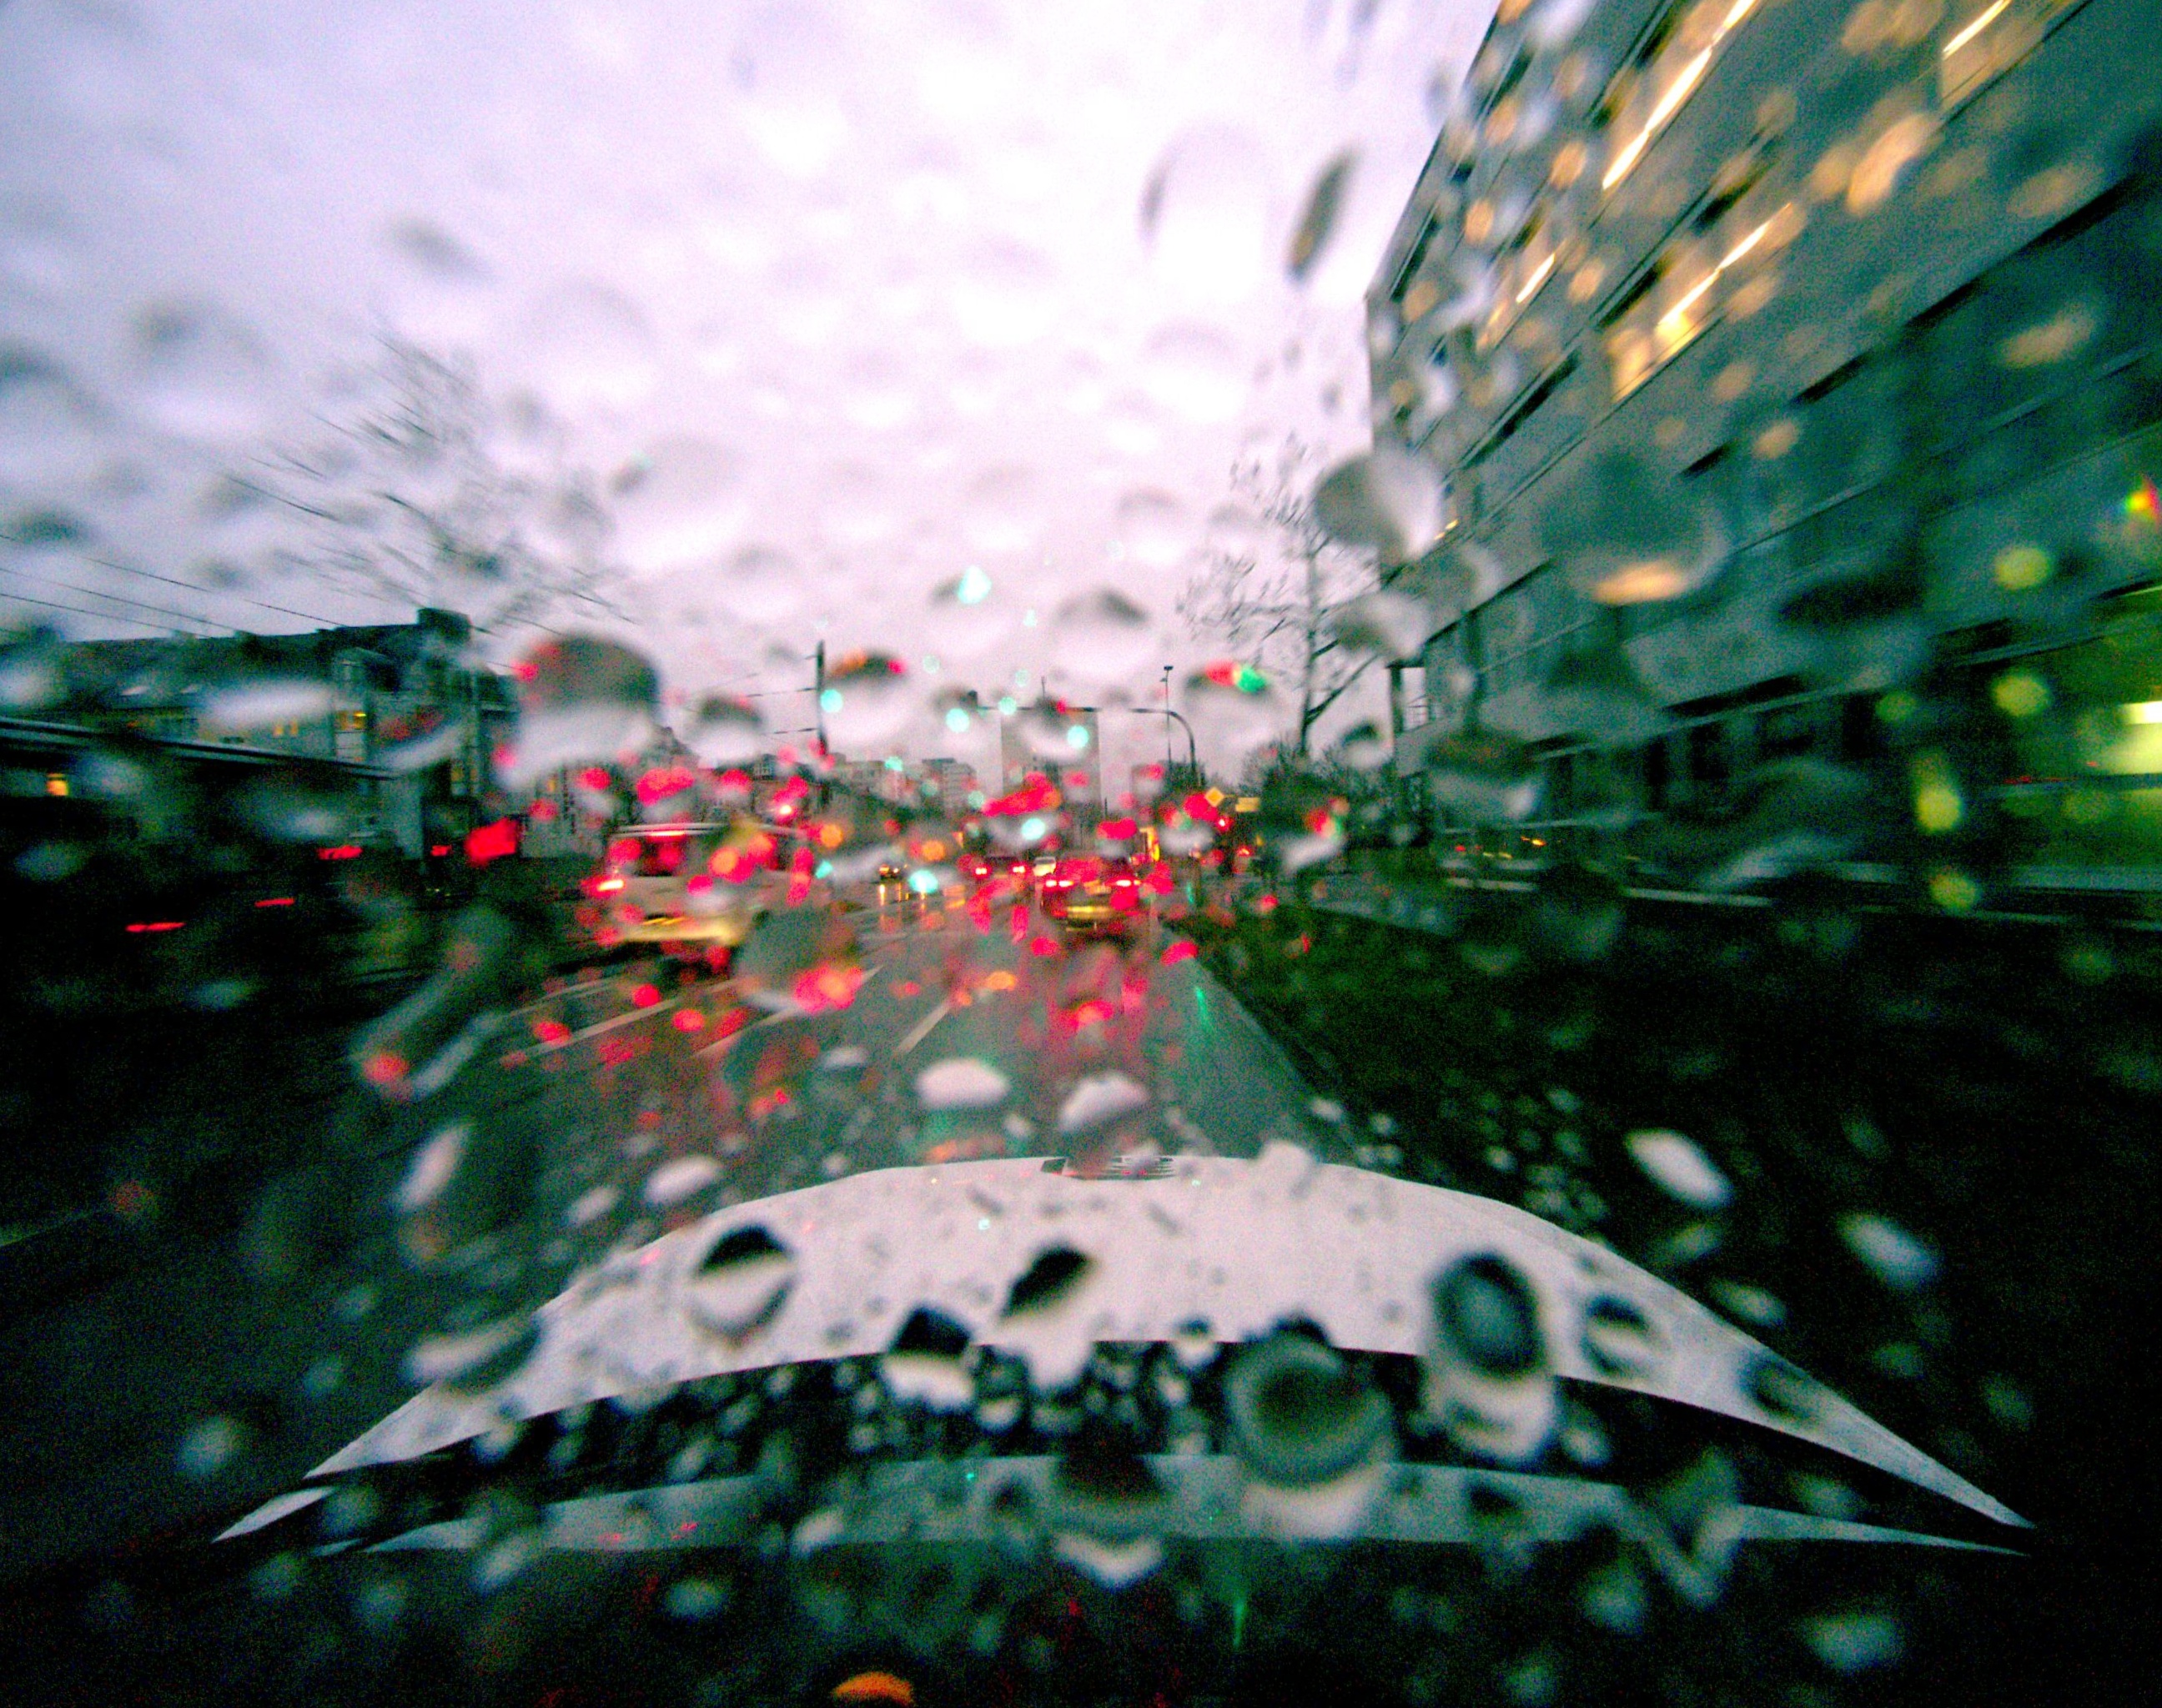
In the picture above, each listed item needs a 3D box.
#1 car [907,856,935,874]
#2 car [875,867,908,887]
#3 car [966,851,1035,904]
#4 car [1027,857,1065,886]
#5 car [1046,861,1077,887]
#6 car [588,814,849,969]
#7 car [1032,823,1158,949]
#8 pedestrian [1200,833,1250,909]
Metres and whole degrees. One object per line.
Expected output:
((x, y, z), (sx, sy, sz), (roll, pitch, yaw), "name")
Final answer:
((-14.790, 1.045, 75.396), (1.582, 1.529, 4.934), (-1, -1, 0), "car")
((-16.008, 1.902, 68.991), (1.799, 1.606, 3.999), (-1, -1, 0), "car")
((-2.794, 0.809, 29.210), (1.987, 1.712, 4.324), (-1, -1, 0), "car")
((-2.096, 1.061, 50.067), (1.986, 1.642, 4.023), (-1, -1, 1), "car")
((-1.518, 1.566, 64.765), (1.985, 2.014, 4.004), (-1, -1, 4), "car")
((-5.590, 0.511, 13.430), (1.945, 2.033, 4.885), (-2, 0, 2), "car")
((0.220, 0.542, 15.050), (1.987, 1.976, 4.067), (-1, -1, 0), "car")
((3.541, 0.411, 19.993), (0.788, 1.750, 0.867), (-7, 0, 28), "pedestrian")
